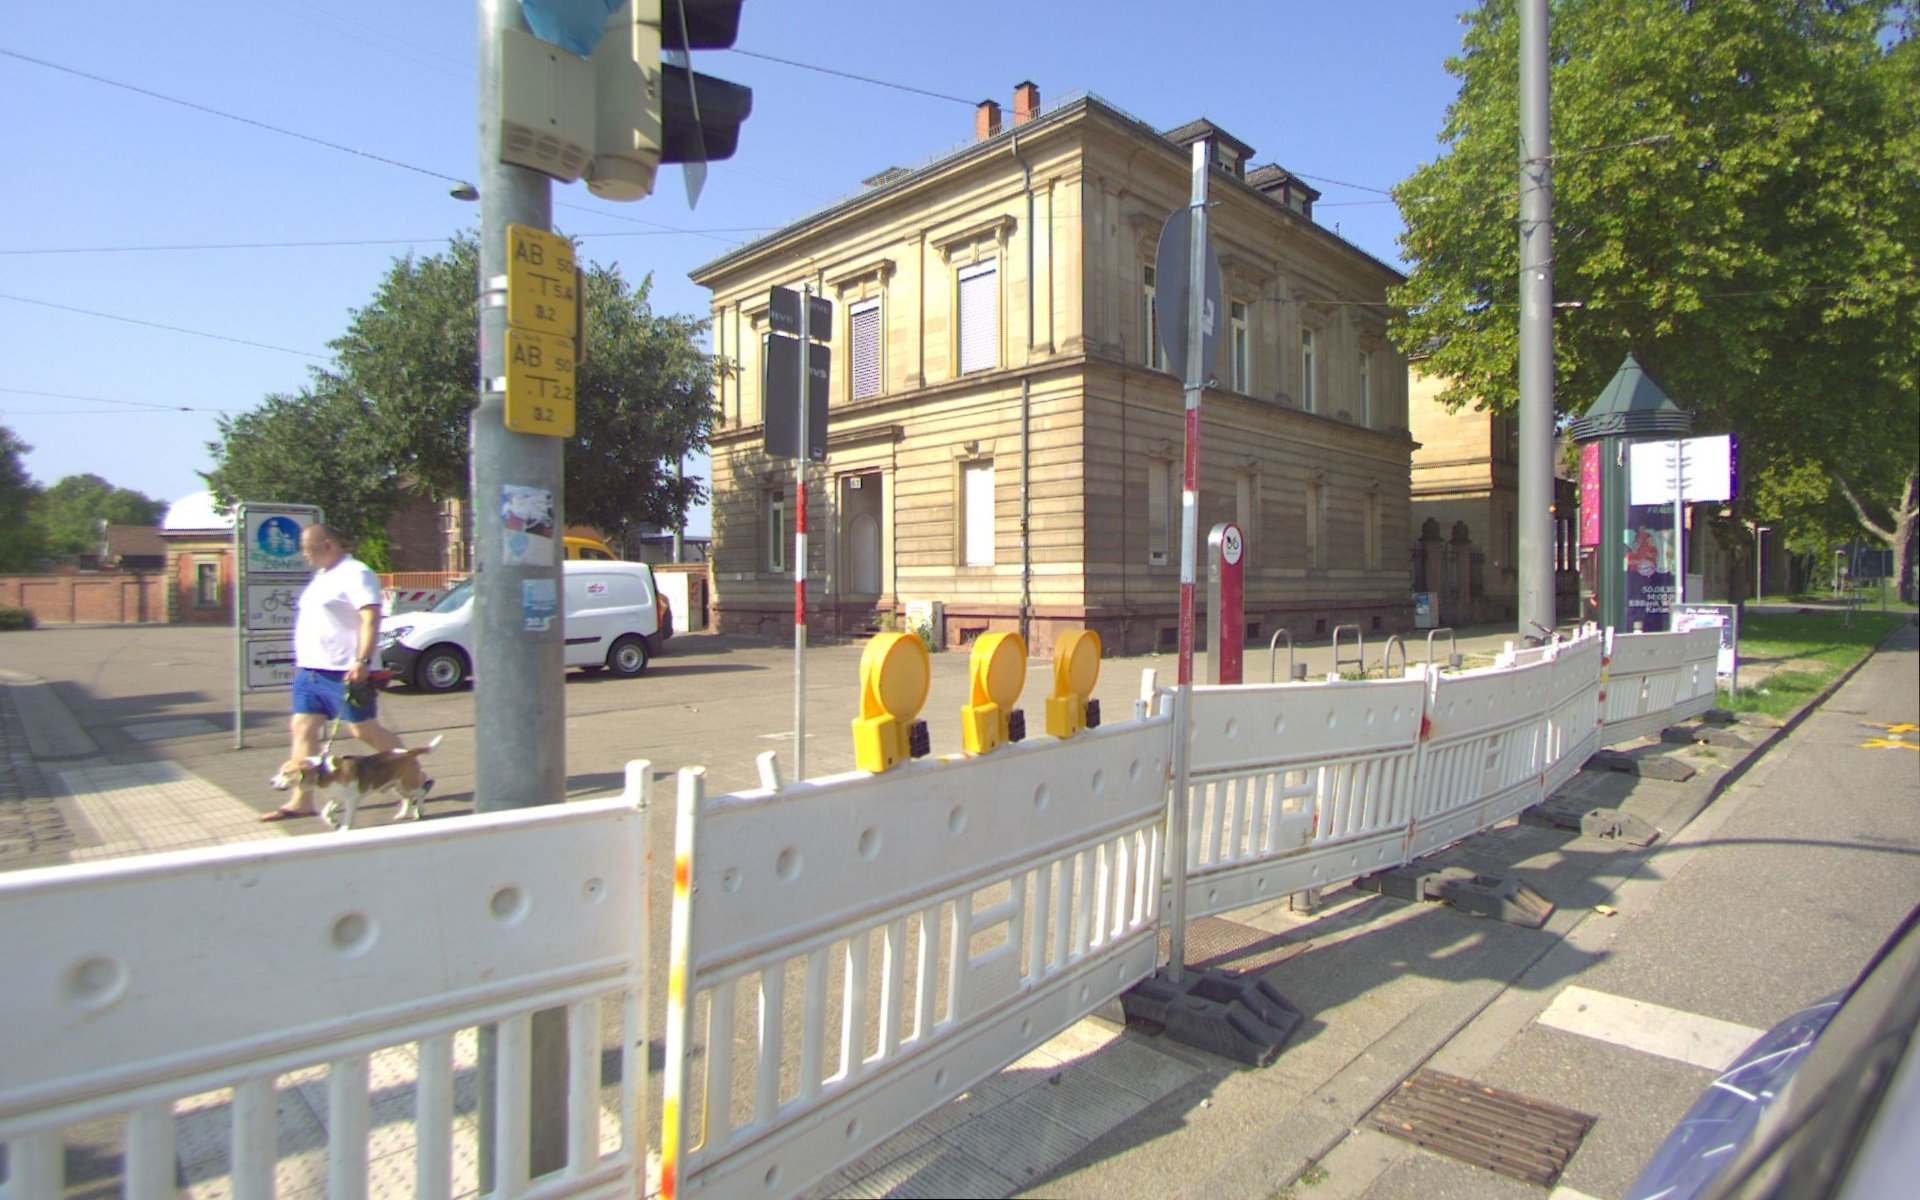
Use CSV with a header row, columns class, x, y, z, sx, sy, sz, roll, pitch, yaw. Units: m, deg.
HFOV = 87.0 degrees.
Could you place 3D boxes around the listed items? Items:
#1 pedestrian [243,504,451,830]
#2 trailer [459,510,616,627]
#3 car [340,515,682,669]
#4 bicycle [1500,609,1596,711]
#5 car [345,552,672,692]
class,x,y,z,sx,sy,sz,roll,pitch,yaw
pedestrian,-3.580,0.352,5.932,0.859,1.759,0.666,0,1,24
trailer,-12.098,-0.871,28.940,4.100,3.086,2.480,0,2,39
car,-8.156,-0.191,18.887,2.256,2.453,5.407,0,1,42
bicycle,6.684,0.640,11.474,1.545,1.019,0.539,-2,3,-45
car,-6.674,0.213,15.178,4.149,1.805,1.908,-1,3,-39
